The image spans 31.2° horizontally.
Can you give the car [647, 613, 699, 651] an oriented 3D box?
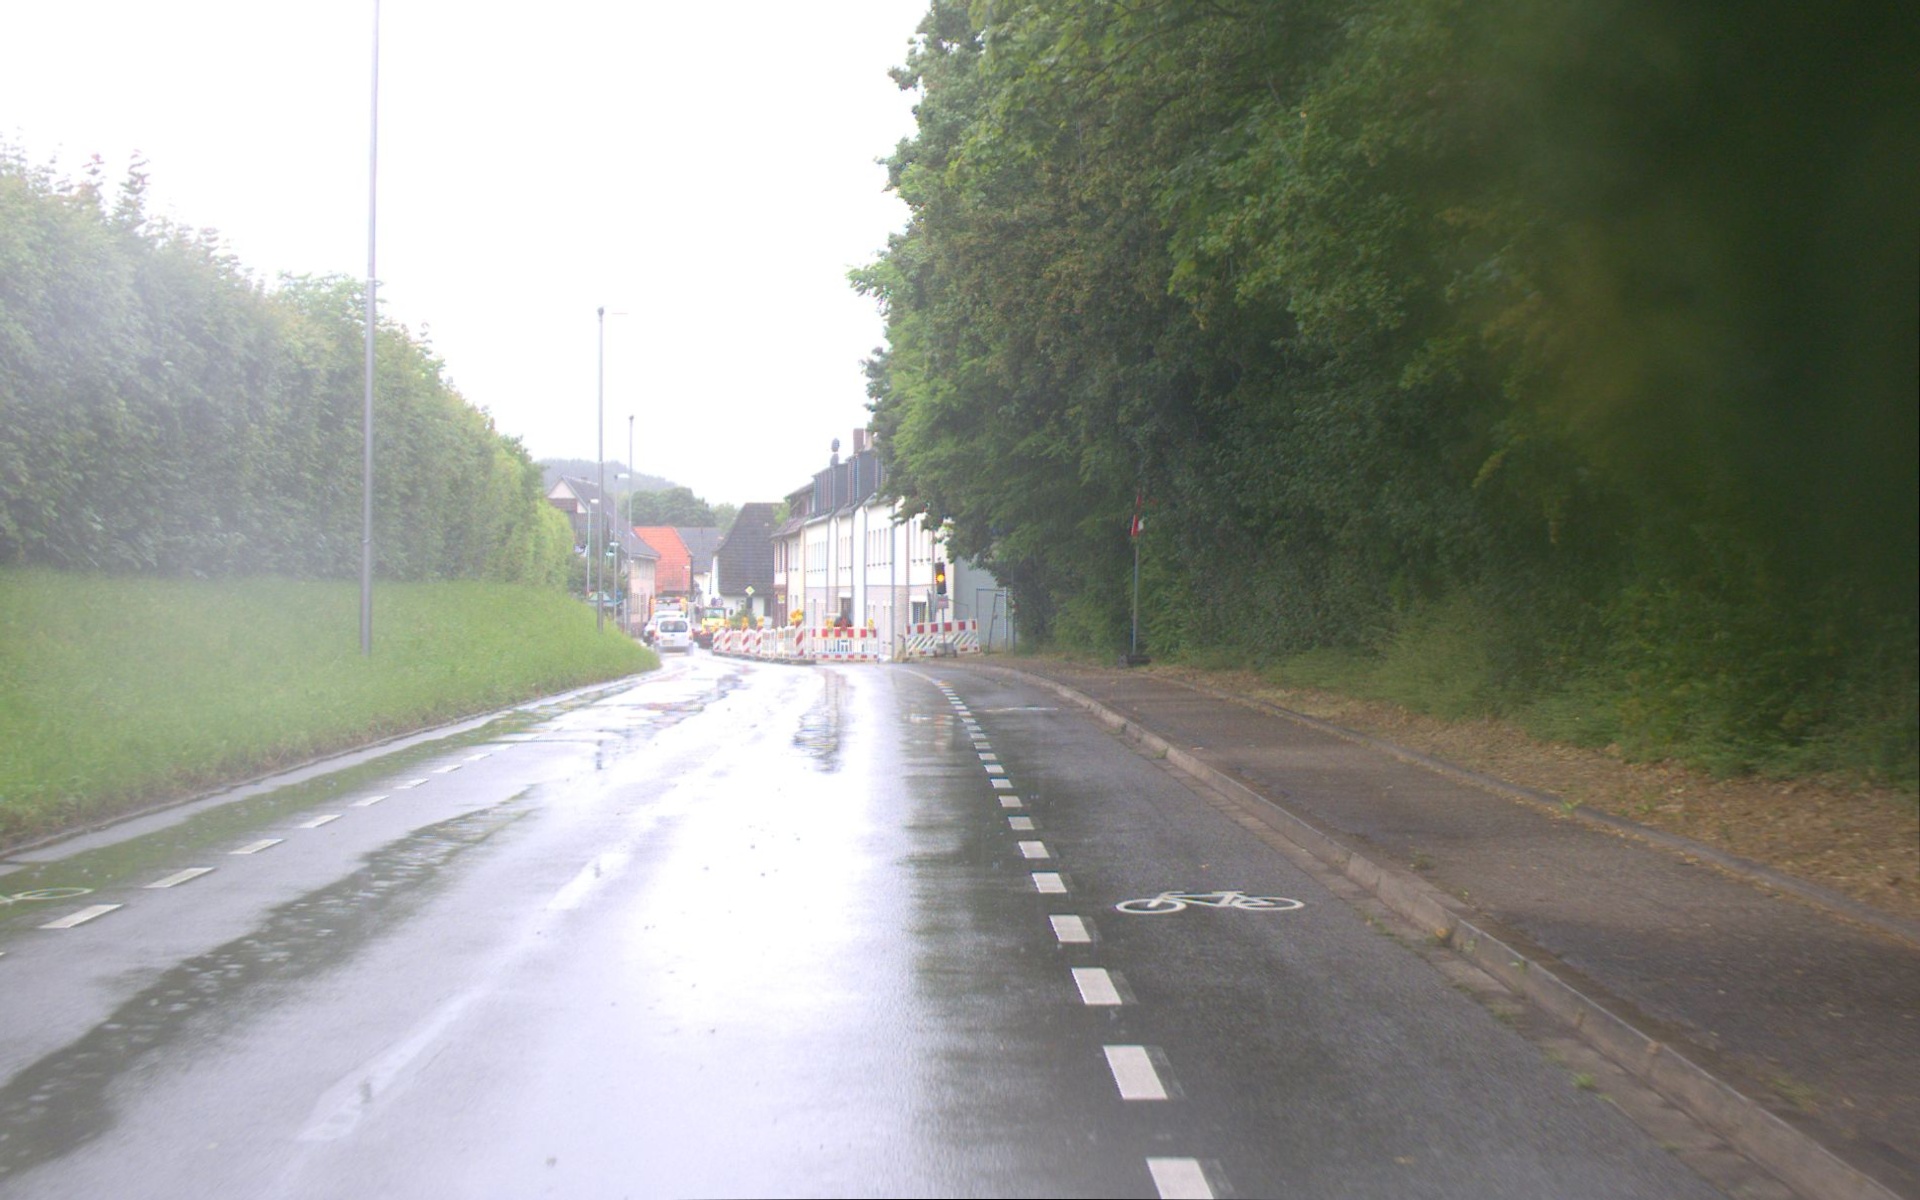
[{"bbox_3d":[-13.557,1.487,162.038,1.993,1.605,4.001,3,1,-10],"label":"car"}]
